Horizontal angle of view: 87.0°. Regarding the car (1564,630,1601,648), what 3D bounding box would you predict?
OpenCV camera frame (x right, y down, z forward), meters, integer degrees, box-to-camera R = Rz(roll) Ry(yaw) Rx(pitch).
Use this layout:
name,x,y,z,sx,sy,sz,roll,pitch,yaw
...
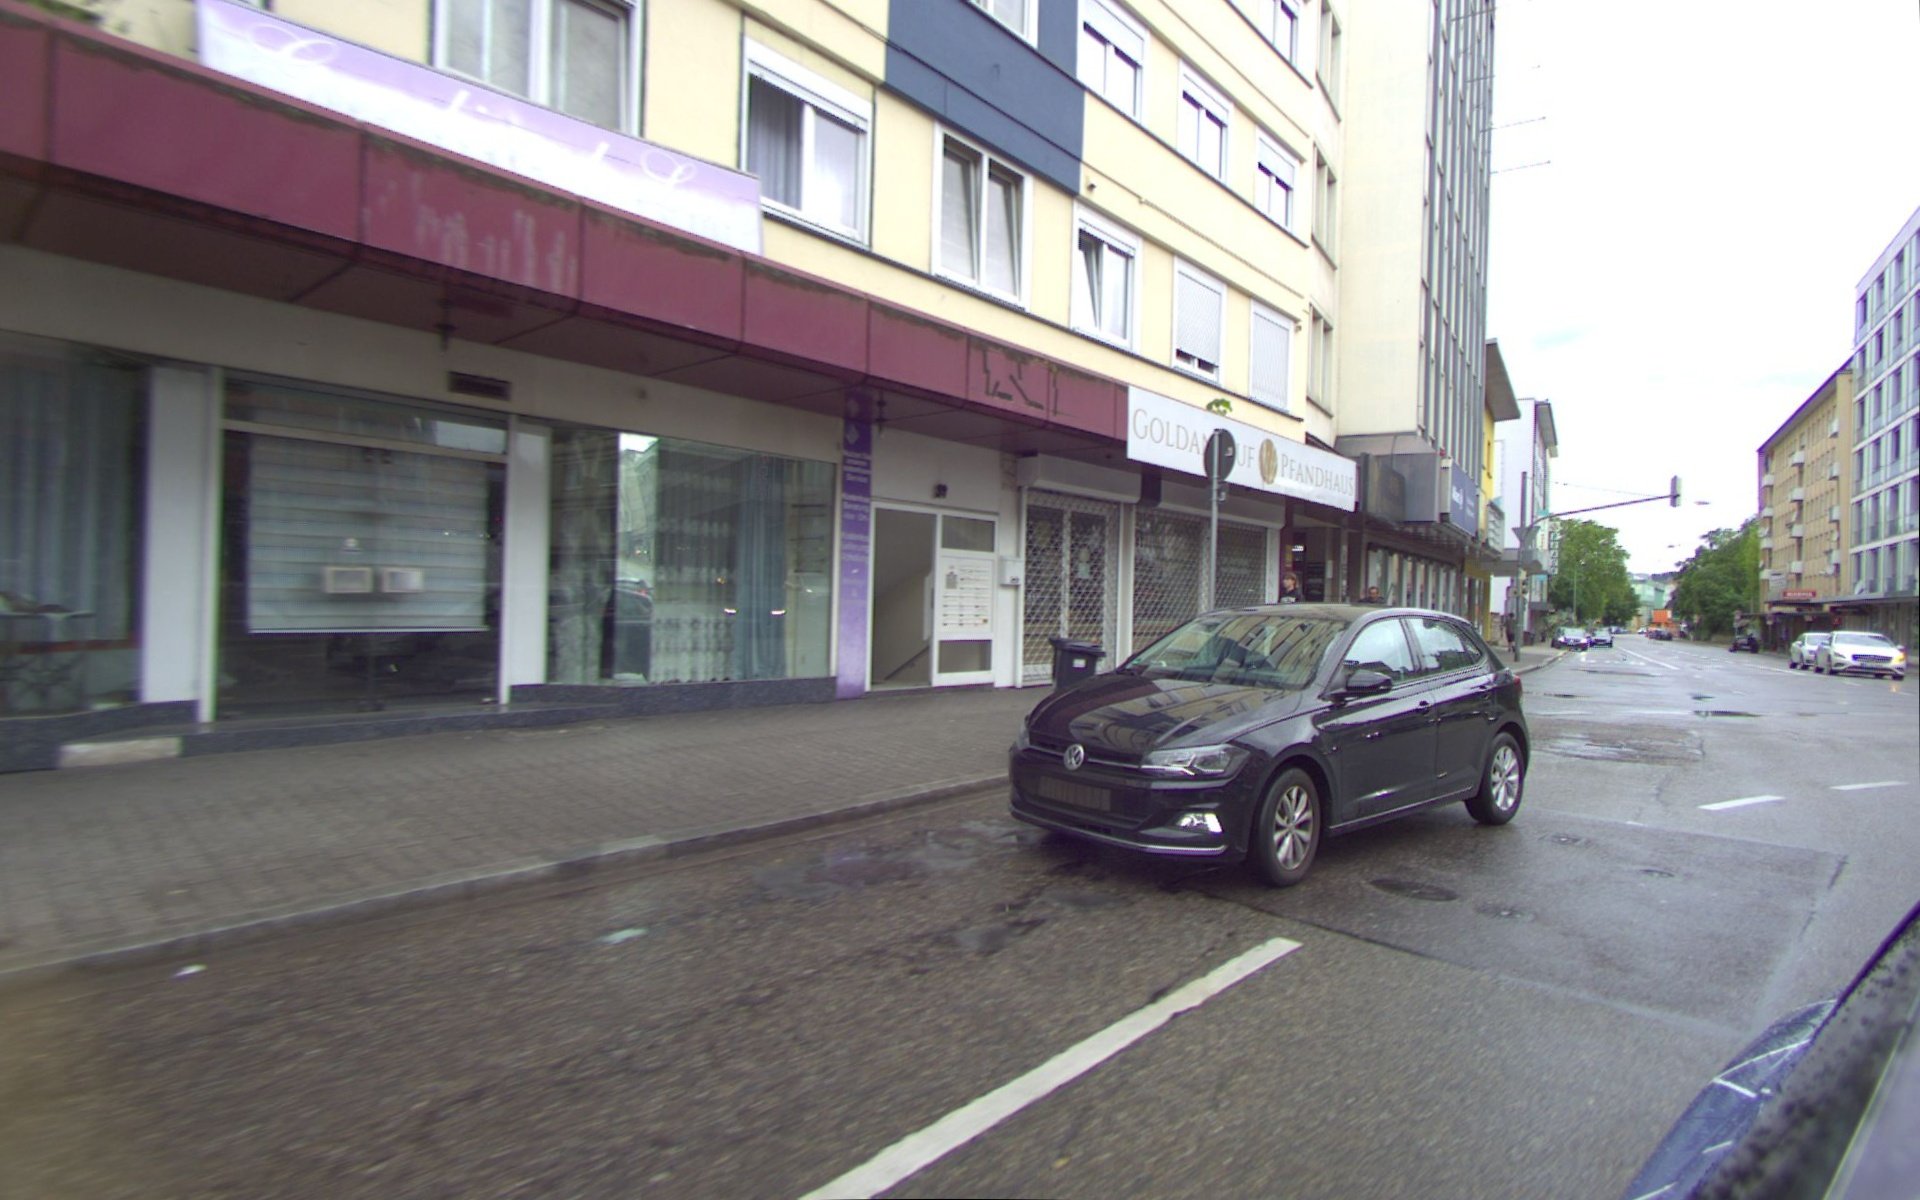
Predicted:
name,x,y,z,sx,sy,sz,roll,pitch,yaw
car,51.867,3.244,84.386,1.977,1.472,3.969,-1,-2,22

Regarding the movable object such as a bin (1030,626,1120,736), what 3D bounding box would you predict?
name,x,y,z,sx,sy,sz,roll,pitch,yaw
movable object such as a bin,1.083,0.760,9.597,0.658,0.945,0.533,3,3,-10

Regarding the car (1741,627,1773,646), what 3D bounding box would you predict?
name,x,y,z,sx,sy,sz,roll,pitch,yaw
car,68.154,3.096,86.570,1.816,1.594,3.949,-1,-2,35

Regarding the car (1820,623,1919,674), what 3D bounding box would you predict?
name,x,y,z,sx,sy,sz,roll,pitch,yaw
car,28.733,1.479,31.845,1.961,1.405,3.952,3,0,33

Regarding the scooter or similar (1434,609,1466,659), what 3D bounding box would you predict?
name,x,y,z,sx,sy,sz,roll,pitch,yaw
scooter or similar,13.744,0.934,28.387,1.128,1.377,0.376,0,-1,-41

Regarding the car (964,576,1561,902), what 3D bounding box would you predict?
name,x,y,z,sx,sy,sz,roll,pitch,yaw
car,2.053,0.674,6.396,3.808,1.449,1.742,2,-2,-38

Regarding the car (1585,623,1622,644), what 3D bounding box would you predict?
name,x,y,z,sx,sy,sz,roll,pitch,yaw
car,56.889,2.948,89.488,1.976,1.640,4.095,0,0,21

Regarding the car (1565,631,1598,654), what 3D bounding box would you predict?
name,x,y,z,sx,sy,sz,roll,pitch,yaw
car,41.561,2.844,67.727,1.771,1.472,3.955,-1,-2,31

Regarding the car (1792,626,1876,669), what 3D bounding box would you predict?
name,x,y,z,sx,sy,sz,roll,pitch,yaw
car,32.900,1.748,38.219,1.797,1.518,3.952,-1,-2,33

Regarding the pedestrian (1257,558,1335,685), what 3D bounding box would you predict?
name,x,y,z,sx,sy,sz,roll,pitch,yaw
pedestrian,5.009,0.312,15.094,0.834,1.786,0.609,5,0,37

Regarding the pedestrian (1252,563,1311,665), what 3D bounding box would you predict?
name,x,y,z,sx,sy,sz,roll,pitch,yaw
pedestrian,5.772,0.258,18.190,0.772,1.786,0.618,1,-2,-25

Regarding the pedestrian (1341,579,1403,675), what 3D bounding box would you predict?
name,x,y,z,sx,sy,sz,roll,pitch,yaw
pedestrian,7.691,0.496,18.917,0.738,1.745,0.755,1,-2,-24

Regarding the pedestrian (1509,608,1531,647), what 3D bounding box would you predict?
name,x,y,z,sx,sy,sz,roll,pitch,yaw
pedestrian,24.386,1.202,44.060,0.732,1.667,0.634,-2,-2,35
